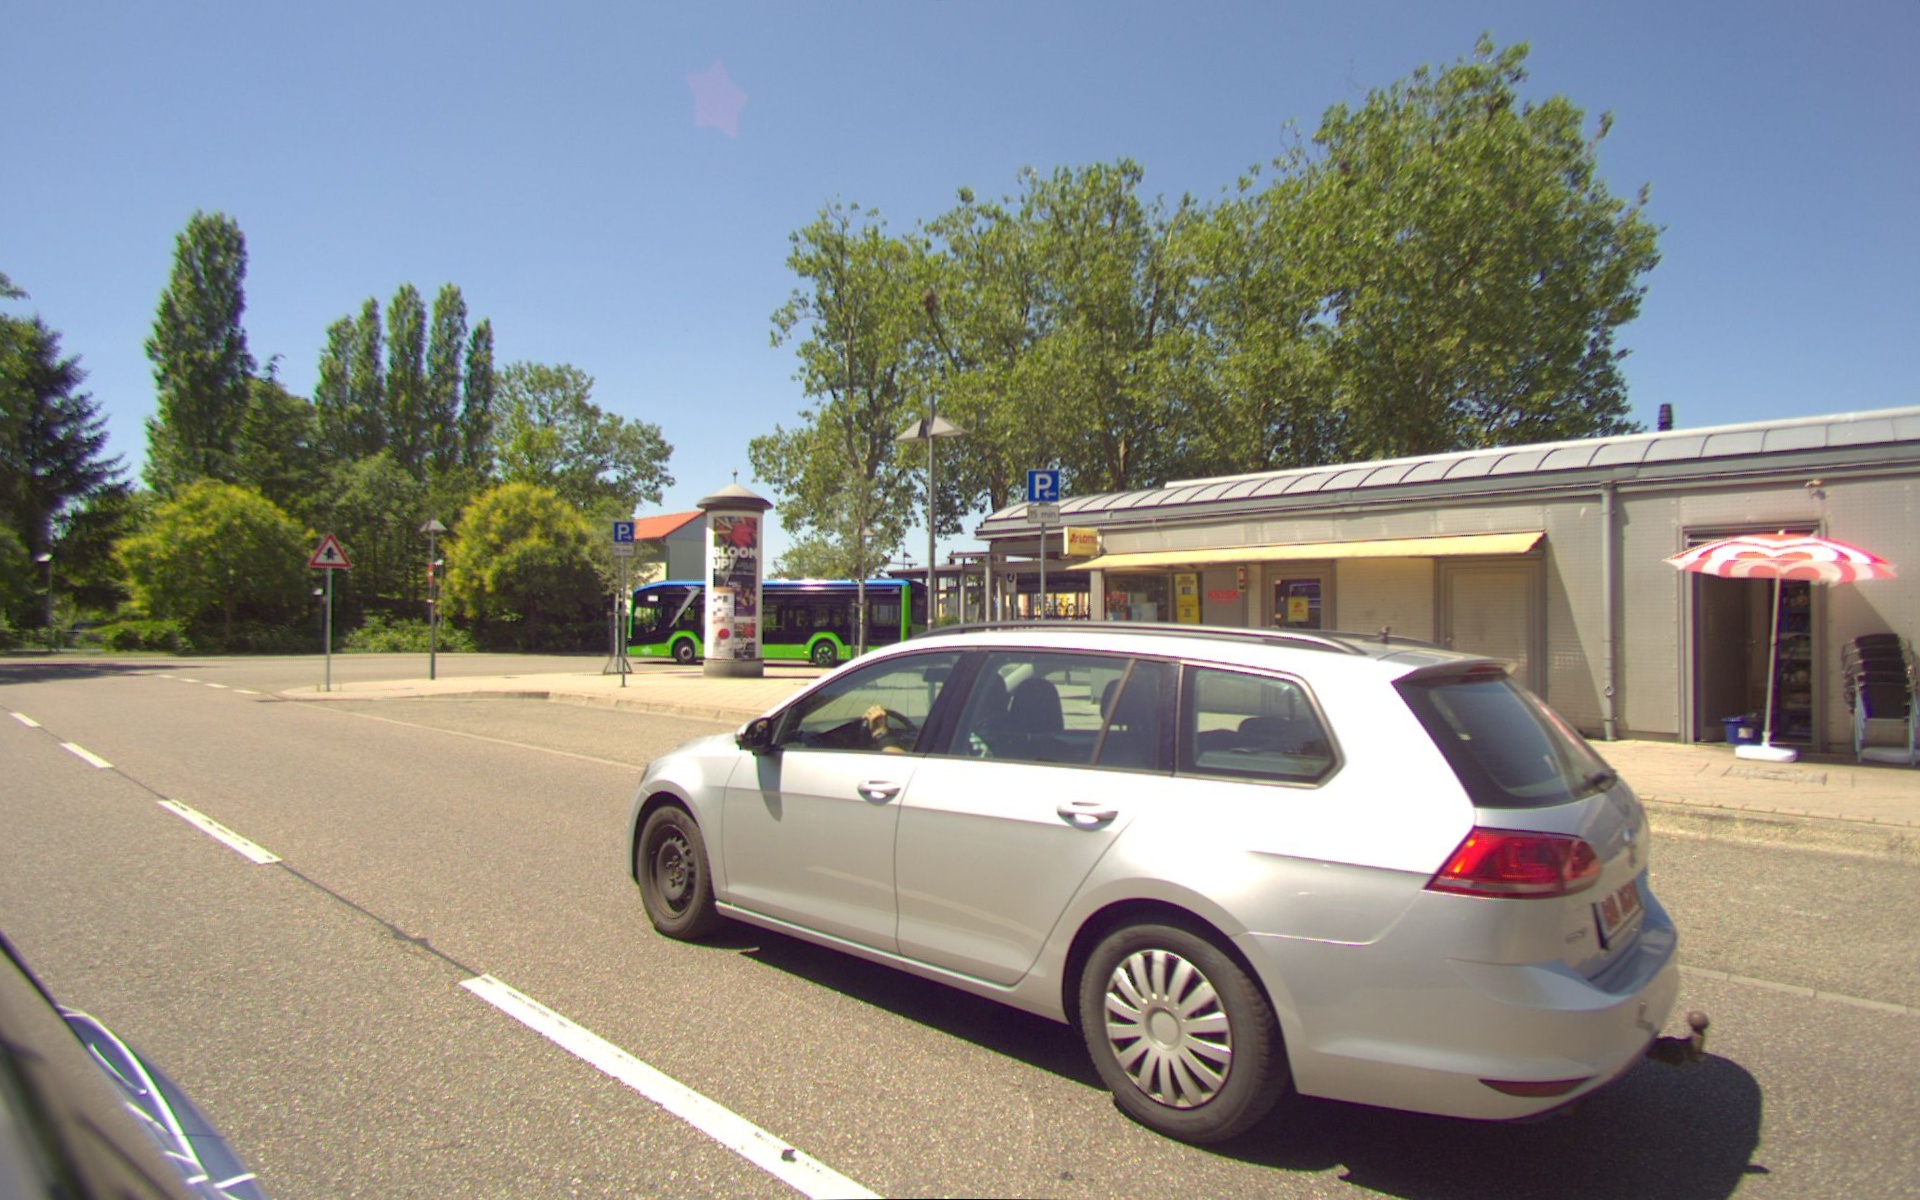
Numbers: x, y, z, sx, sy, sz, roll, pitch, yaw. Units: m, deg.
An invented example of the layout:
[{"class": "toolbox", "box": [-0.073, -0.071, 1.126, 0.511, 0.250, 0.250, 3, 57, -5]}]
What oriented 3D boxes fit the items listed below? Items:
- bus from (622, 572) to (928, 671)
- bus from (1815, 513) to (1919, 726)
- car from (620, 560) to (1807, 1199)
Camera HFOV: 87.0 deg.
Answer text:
[{"class": "bus", "box": [-7.312, 0.860, 39.254, 12.120, 3.553, 2.156, -1, -1, 18]}, {"class": "bus", "box": [19.077, 0.219, 13.239, 11.849, 3.258, 2.932, -2, -3, 44]}, {"class": "car", "box": [0.573, 0.780, 4.001, 4.158, 1.455, 1.795, -2, -6, 43]}]
